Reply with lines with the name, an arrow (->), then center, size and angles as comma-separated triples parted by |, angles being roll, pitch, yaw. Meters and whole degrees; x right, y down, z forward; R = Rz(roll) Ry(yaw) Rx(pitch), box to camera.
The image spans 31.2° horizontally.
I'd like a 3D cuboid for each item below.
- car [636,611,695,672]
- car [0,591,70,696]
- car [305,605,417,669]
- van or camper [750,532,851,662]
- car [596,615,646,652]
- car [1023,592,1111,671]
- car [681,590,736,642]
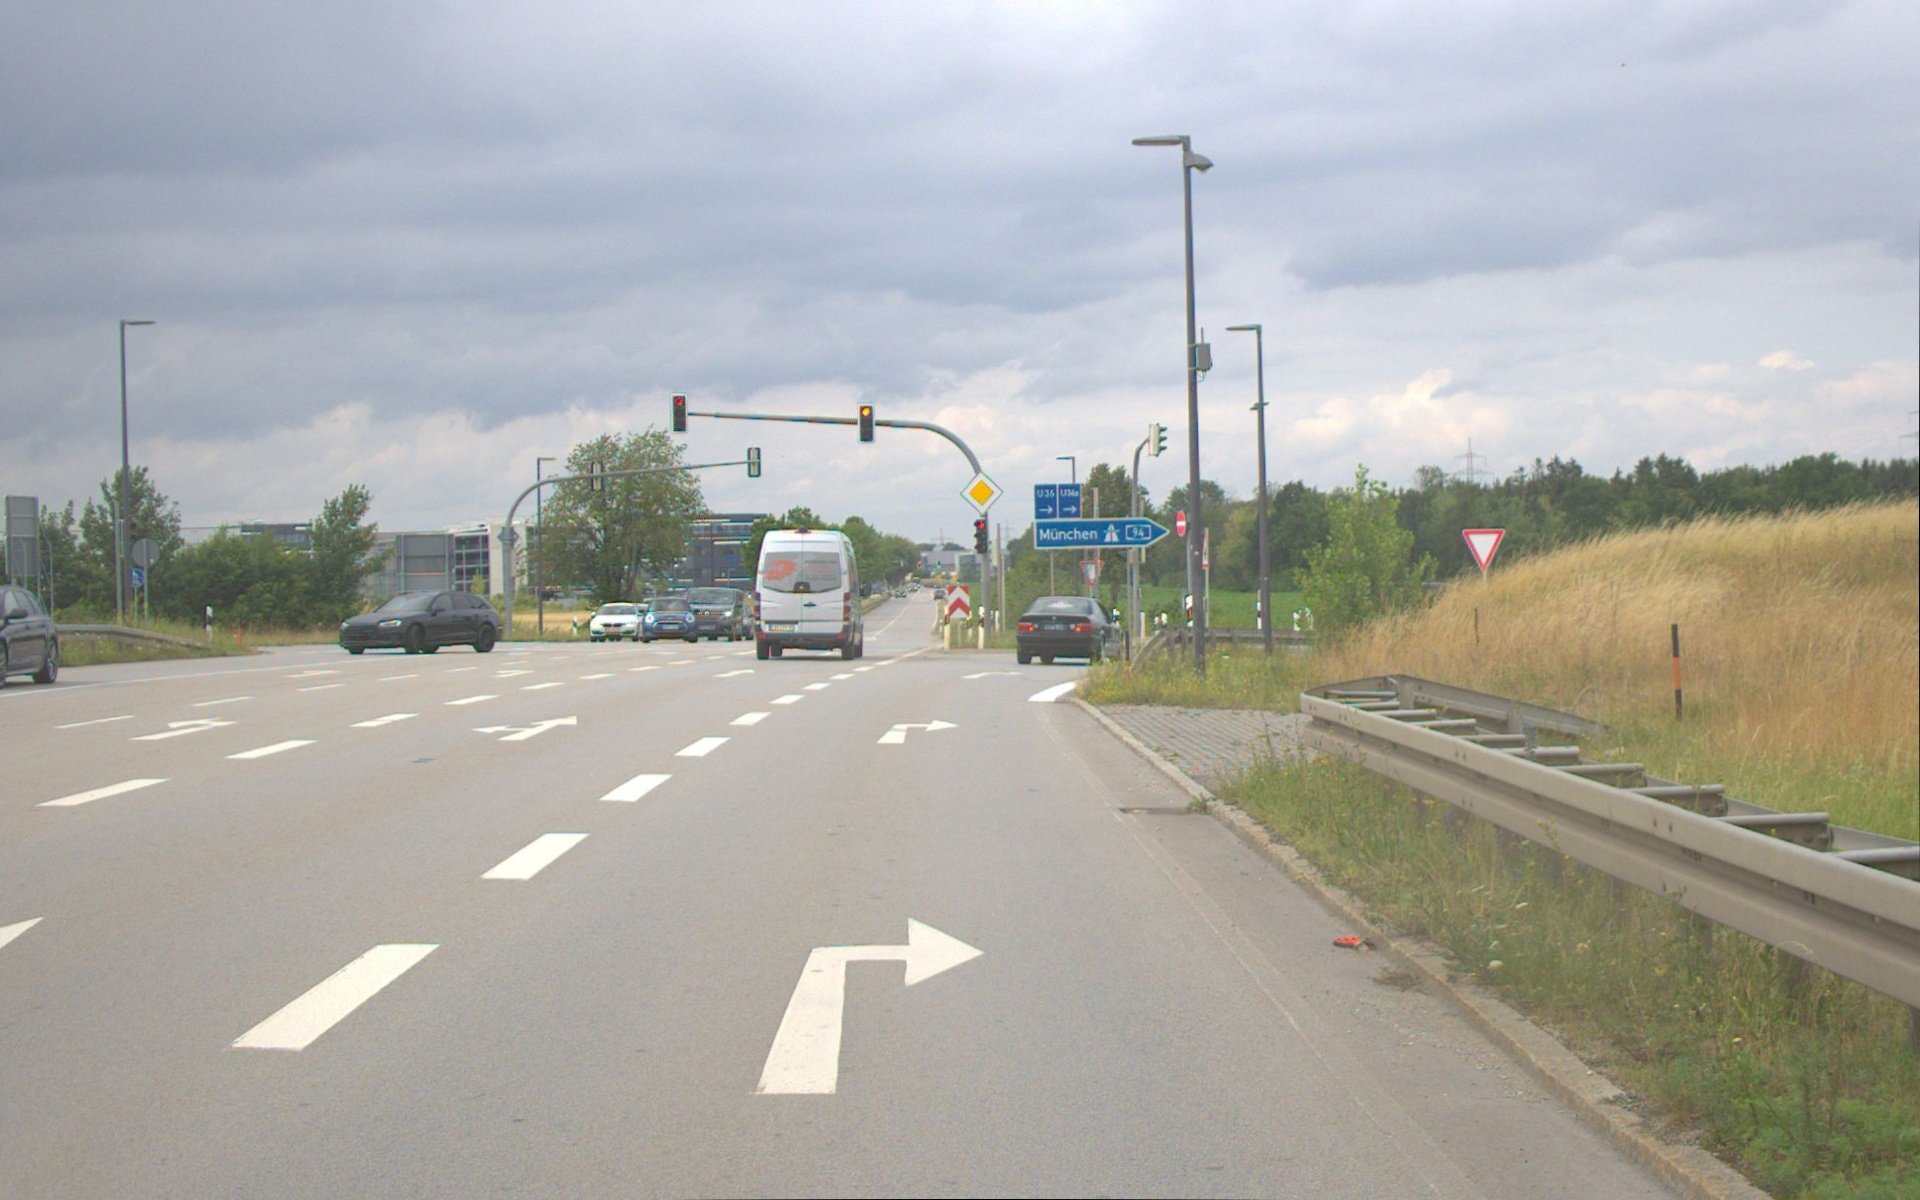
car -> -9.273, 1.291, 108.149 | 1.637, 1.846, 3.749 | -1, 0, -8
car -> -13.974, 0.597, 48.453 | 1.808, 1.364, 4.786 | -1, 1, -3
car -> -13.816, 0.864, 79.473 | 1.844, 1.420, 3.908 | -1, -1, 1
van or camper -> -3.229, -0.074, 70.306 | 1.876, 2.572, 4.000 | 1, 0, 0
car -> -12.619, 1.241, 128.147 | 1.480, 1.278, 3.533 | -1, 0, 1
car -> 2.129, 0.597, 67.635 | 1.518, 1.480, 3.615 | -1, 0, 5
car -> -9.052, 0.562, 124.058 | 1.638, 1.846, 3.748 | -1, 0, 1
